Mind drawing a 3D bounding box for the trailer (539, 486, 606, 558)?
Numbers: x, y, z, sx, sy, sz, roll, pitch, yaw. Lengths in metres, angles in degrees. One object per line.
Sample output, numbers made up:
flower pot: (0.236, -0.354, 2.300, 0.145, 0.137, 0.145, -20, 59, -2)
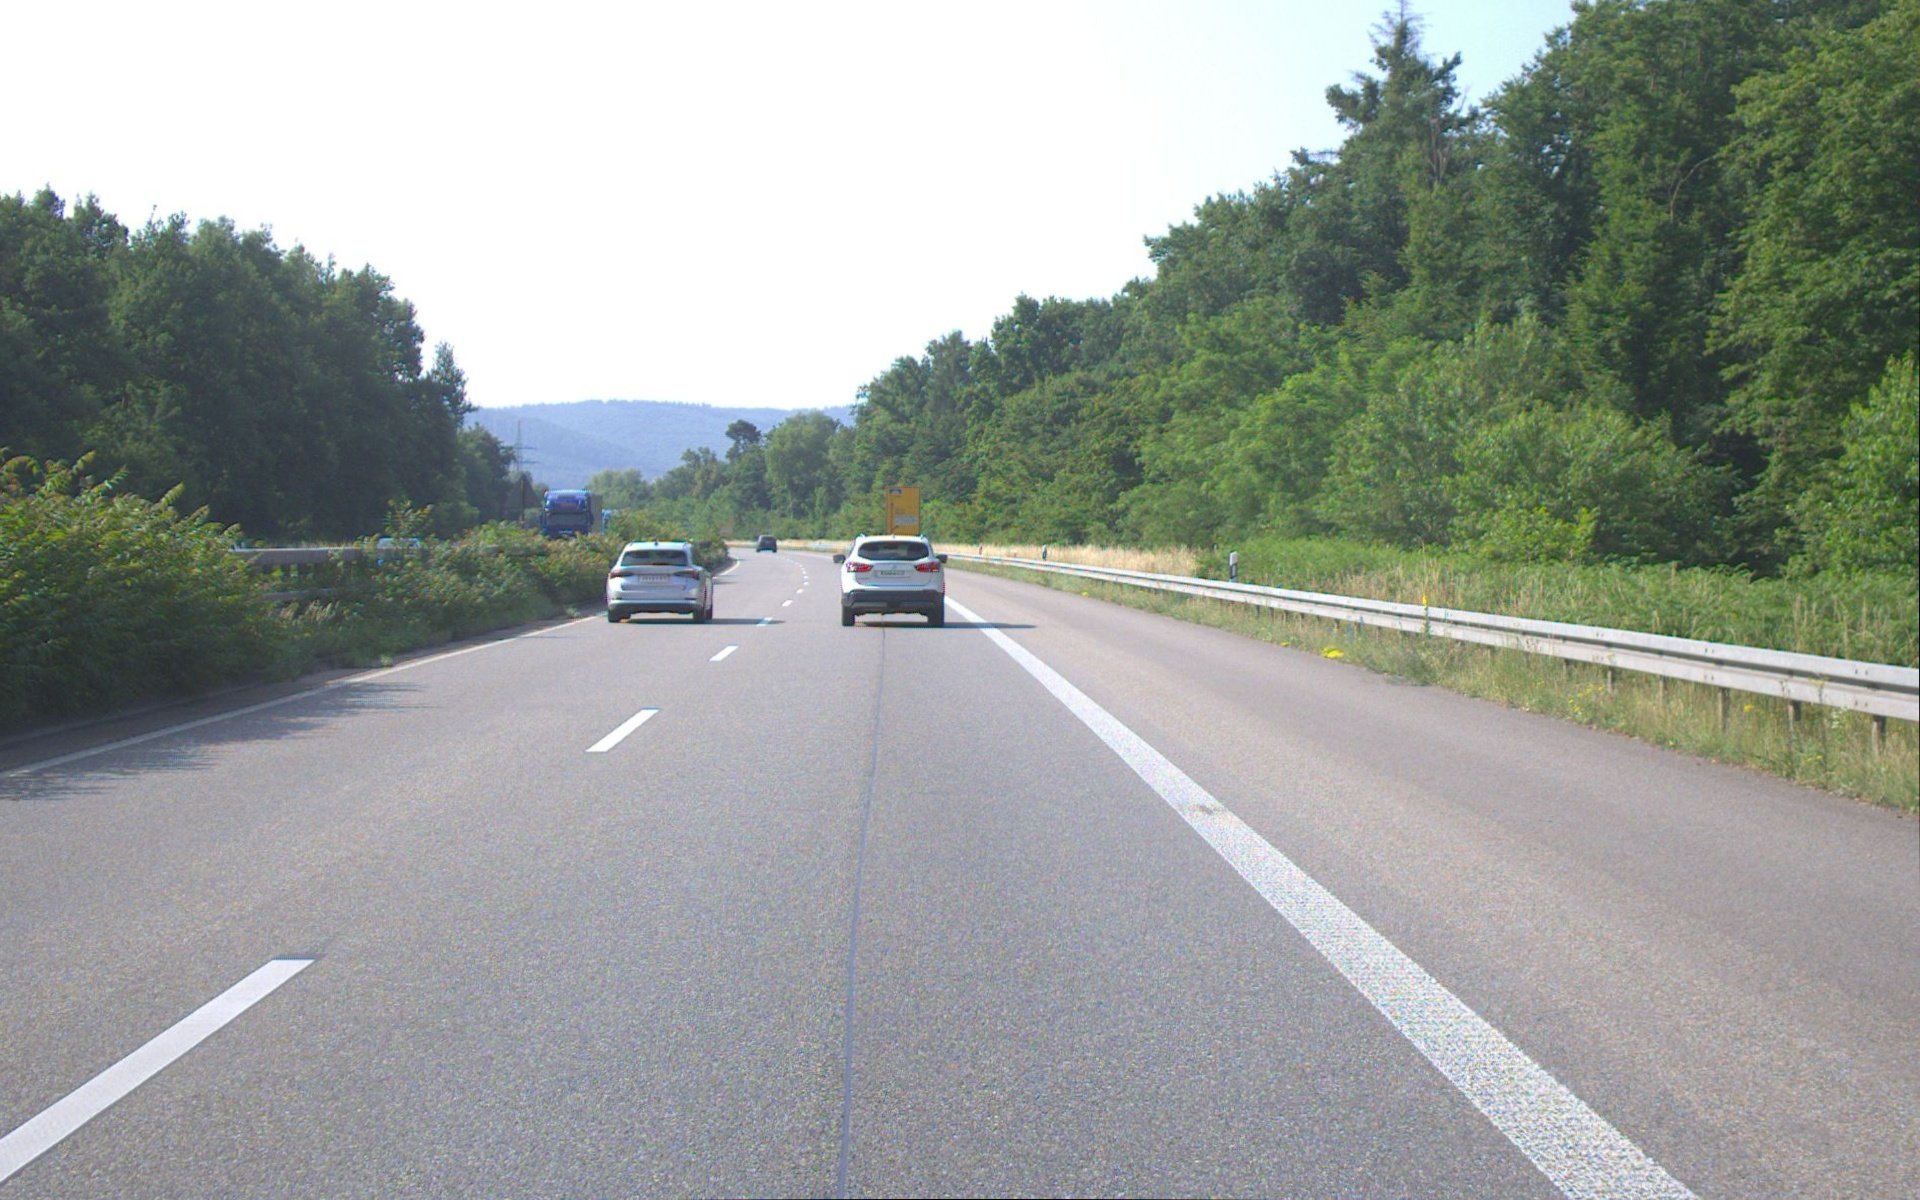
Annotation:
trailer: (-22.069, -4.437, 196.186, 2.831, 3.985, 11.435, 0, 1, -2)

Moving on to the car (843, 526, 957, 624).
car: (-1.087, -0.472, 60.714, 1.873, 1.580, 4.001, 2, 1, -2)

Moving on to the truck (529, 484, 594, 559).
truck: (-21.802, -4.267, 188.368, 2.784, 3.985, 8.417, 0, 1, -2)

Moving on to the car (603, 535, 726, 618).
car: (-5.400, -0.460, 63.373, 1.792, 1.433, 5.279, 0, 1, 0)
